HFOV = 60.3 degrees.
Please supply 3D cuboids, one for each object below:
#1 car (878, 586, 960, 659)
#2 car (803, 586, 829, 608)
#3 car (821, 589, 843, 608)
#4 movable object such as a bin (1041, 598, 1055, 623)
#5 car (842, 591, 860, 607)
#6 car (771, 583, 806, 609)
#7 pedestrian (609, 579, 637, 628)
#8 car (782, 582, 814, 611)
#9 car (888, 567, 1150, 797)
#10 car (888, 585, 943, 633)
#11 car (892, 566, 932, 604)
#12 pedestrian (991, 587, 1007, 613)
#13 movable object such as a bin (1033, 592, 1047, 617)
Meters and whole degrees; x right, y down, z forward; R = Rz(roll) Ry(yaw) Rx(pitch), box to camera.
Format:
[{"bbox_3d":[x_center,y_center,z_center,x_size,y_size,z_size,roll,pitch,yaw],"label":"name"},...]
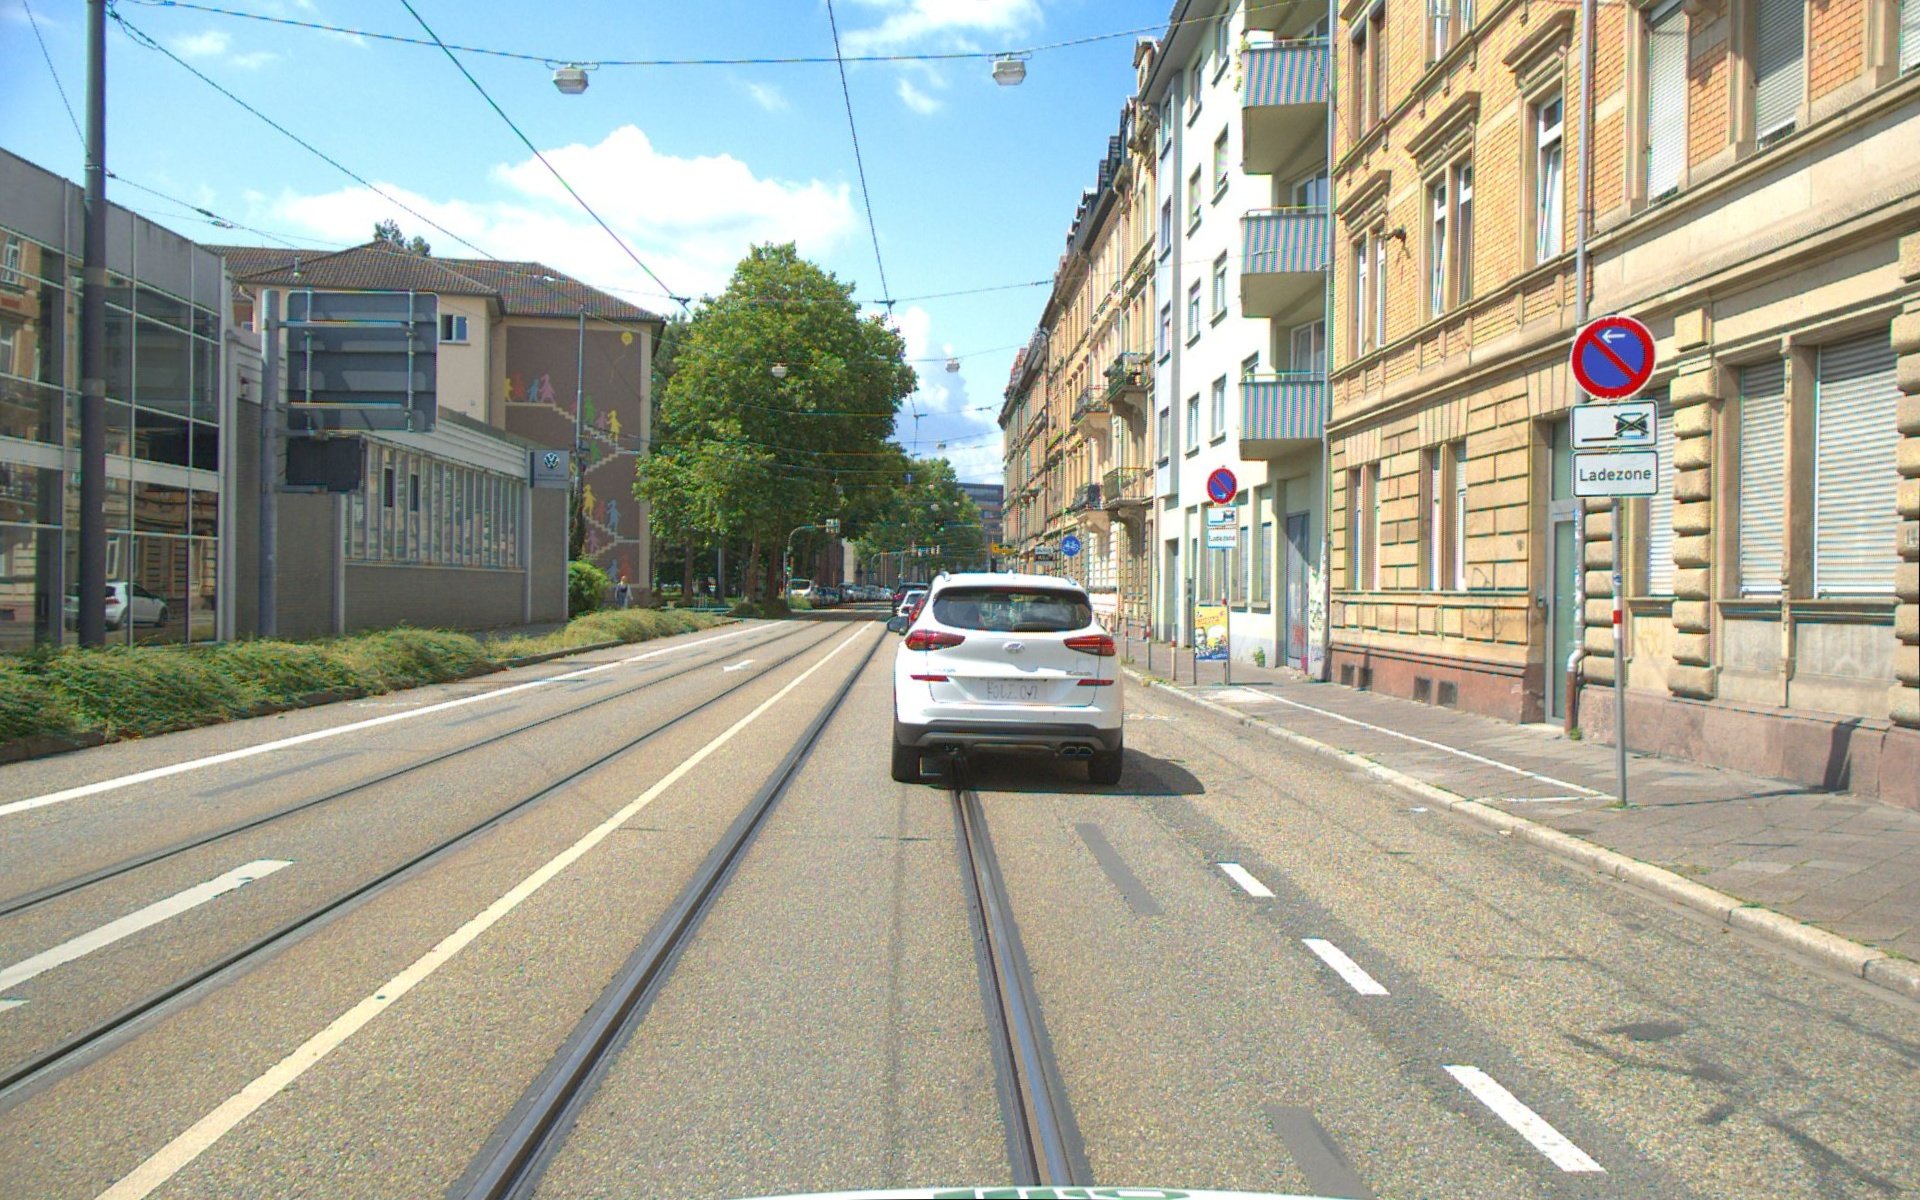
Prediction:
[{"bbox_3d":[-0.899,0.476,37.671,1.777,1.551,4.084,0,0,-1],"label":"car"},{"bbox_3d":[-11.373,-0.239,130.567,1.911,1.660,3.997,1,0,-4],"label":"car"},{"bbox_3d":[-11.484,-0.166,148.252,1.911,1.660,3.997,1,0,-4],"label":"car"},{"bbox_3d":[4.236,0.504,79.903,0.600,1.163,0.638,1,0,-2],"label":"movable object such as a bin"},{"bbox_3d":[-11.833,-0.134,179.500,1.911,1.660,3.997,1,0,-4],"label":"car"},{"bbox_3d":[-11.306,-0.276,109.262,1.911,1.660,4.574,1,0,-2],"label":"car"},{"bbox_3d":[-13.213,0.117,64.848,0.862,1.898,1.080,0,0,-1],"label":"pedestrian"},{"bbox_3d":[-11.260,-0.229,115.317,1.911,1.928,4.564,1,0,-2],"label":"car"},{"bbox_3d":[0.358,0.608,14.401,1.816,1.662,4.177,2,0,-4],"label":"car"},{"bbox_3d":[-1.486,0.289,55.341,1.778,1.551,3.954,0,0,-1],"label":"car"},{"bbox_3d":[-2.173,-0.679,75.180,1.778,1.691,4.084,1,0,-2],"label":"car"},{"bbox_3d":[2.457,-0.031,103.564,0.919,1.600,1.049,1,0,-2],"label":"pedestrian"},{"bbox_3d":[3.946,0.219,81.326,0.600,1.163,0.638,1,0,-2],"label":"movable object such as a bin"}]
